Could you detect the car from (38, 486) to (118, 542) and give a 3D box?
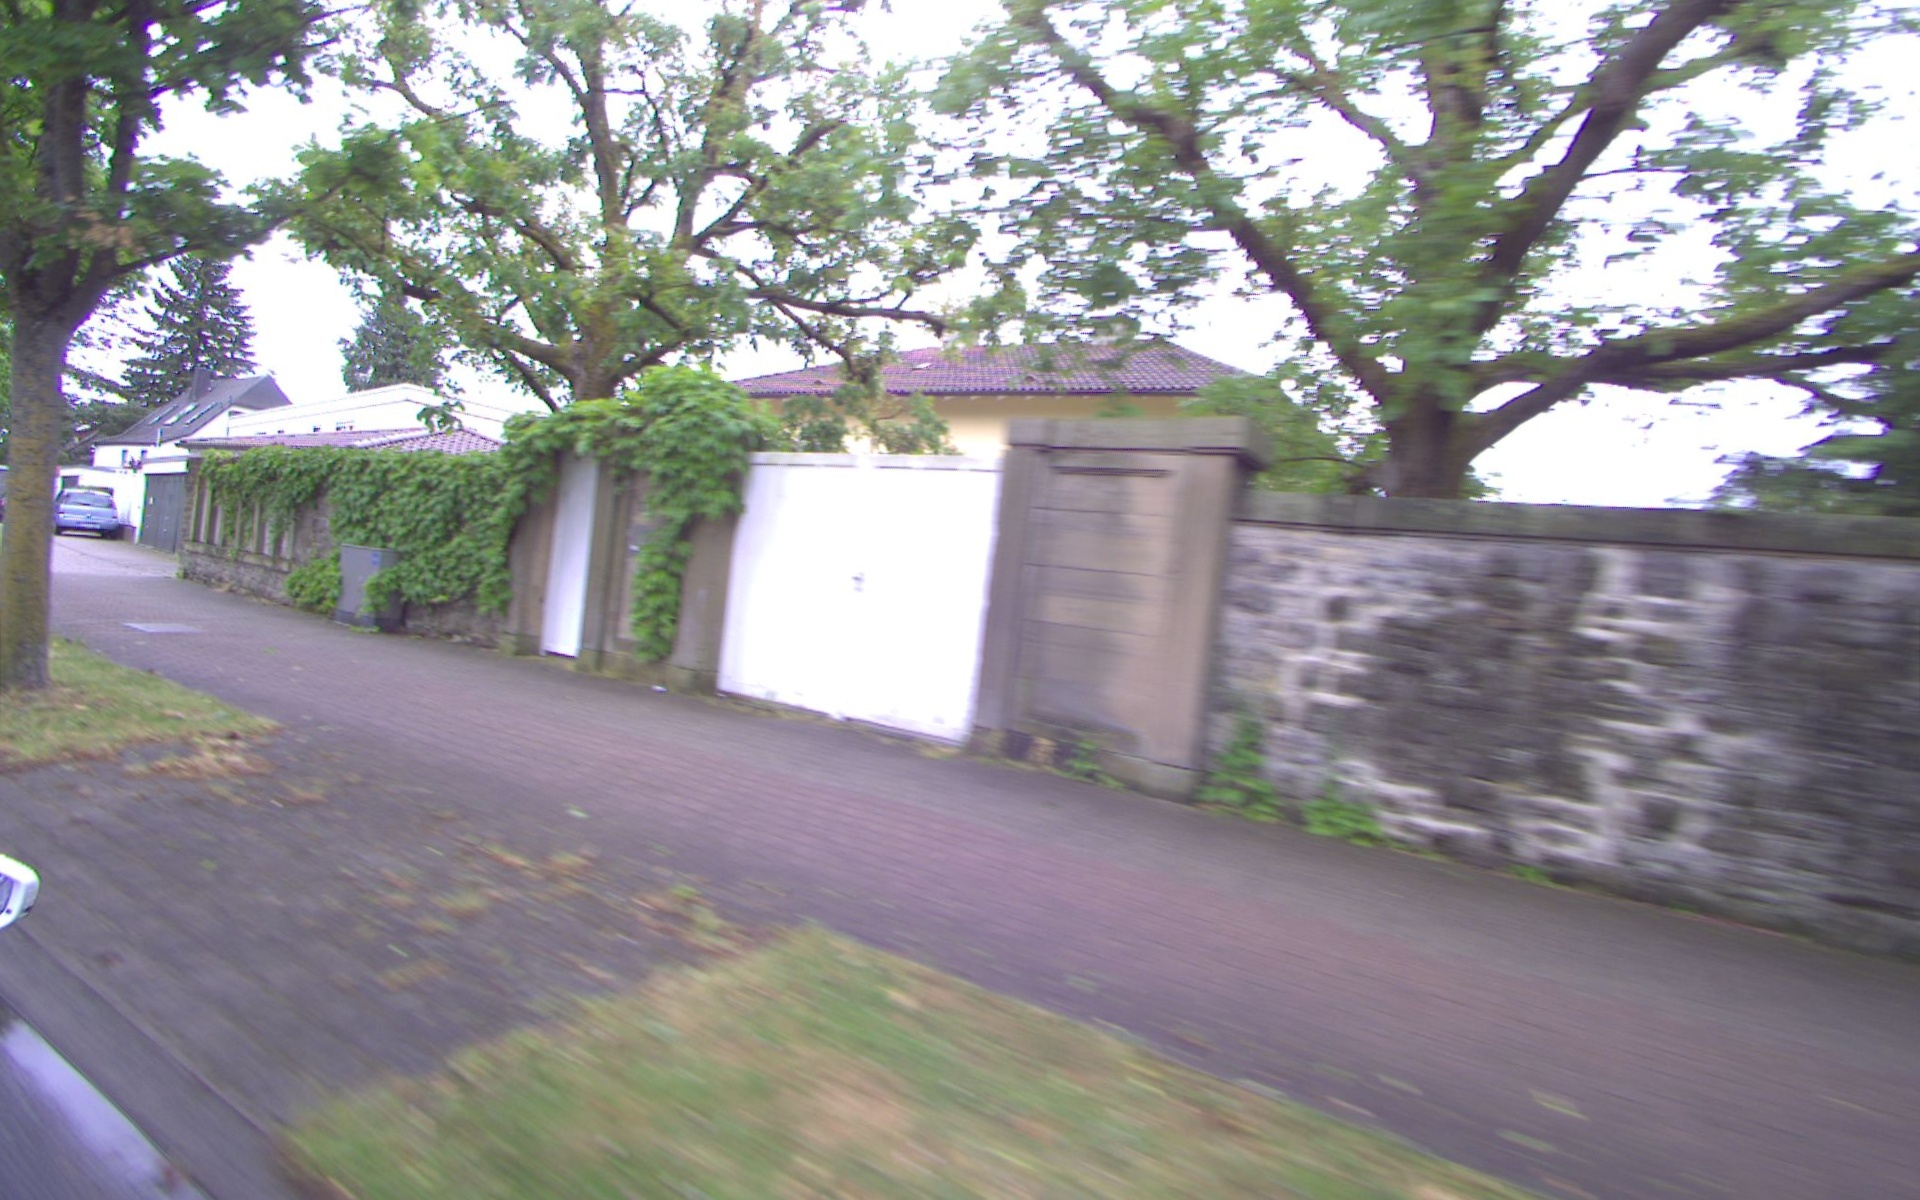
[{"bbox_3d":[-30.917,-3.028,35.225,3.948,1.631,1.739,6,0,44],"label":"car"}]

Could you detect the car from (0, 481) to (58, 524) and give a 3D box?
[{"bbox_3d":[-40.298,-4.214,43.325,4.484,1.516,1.767,6,0,44],"label":"car"}]
